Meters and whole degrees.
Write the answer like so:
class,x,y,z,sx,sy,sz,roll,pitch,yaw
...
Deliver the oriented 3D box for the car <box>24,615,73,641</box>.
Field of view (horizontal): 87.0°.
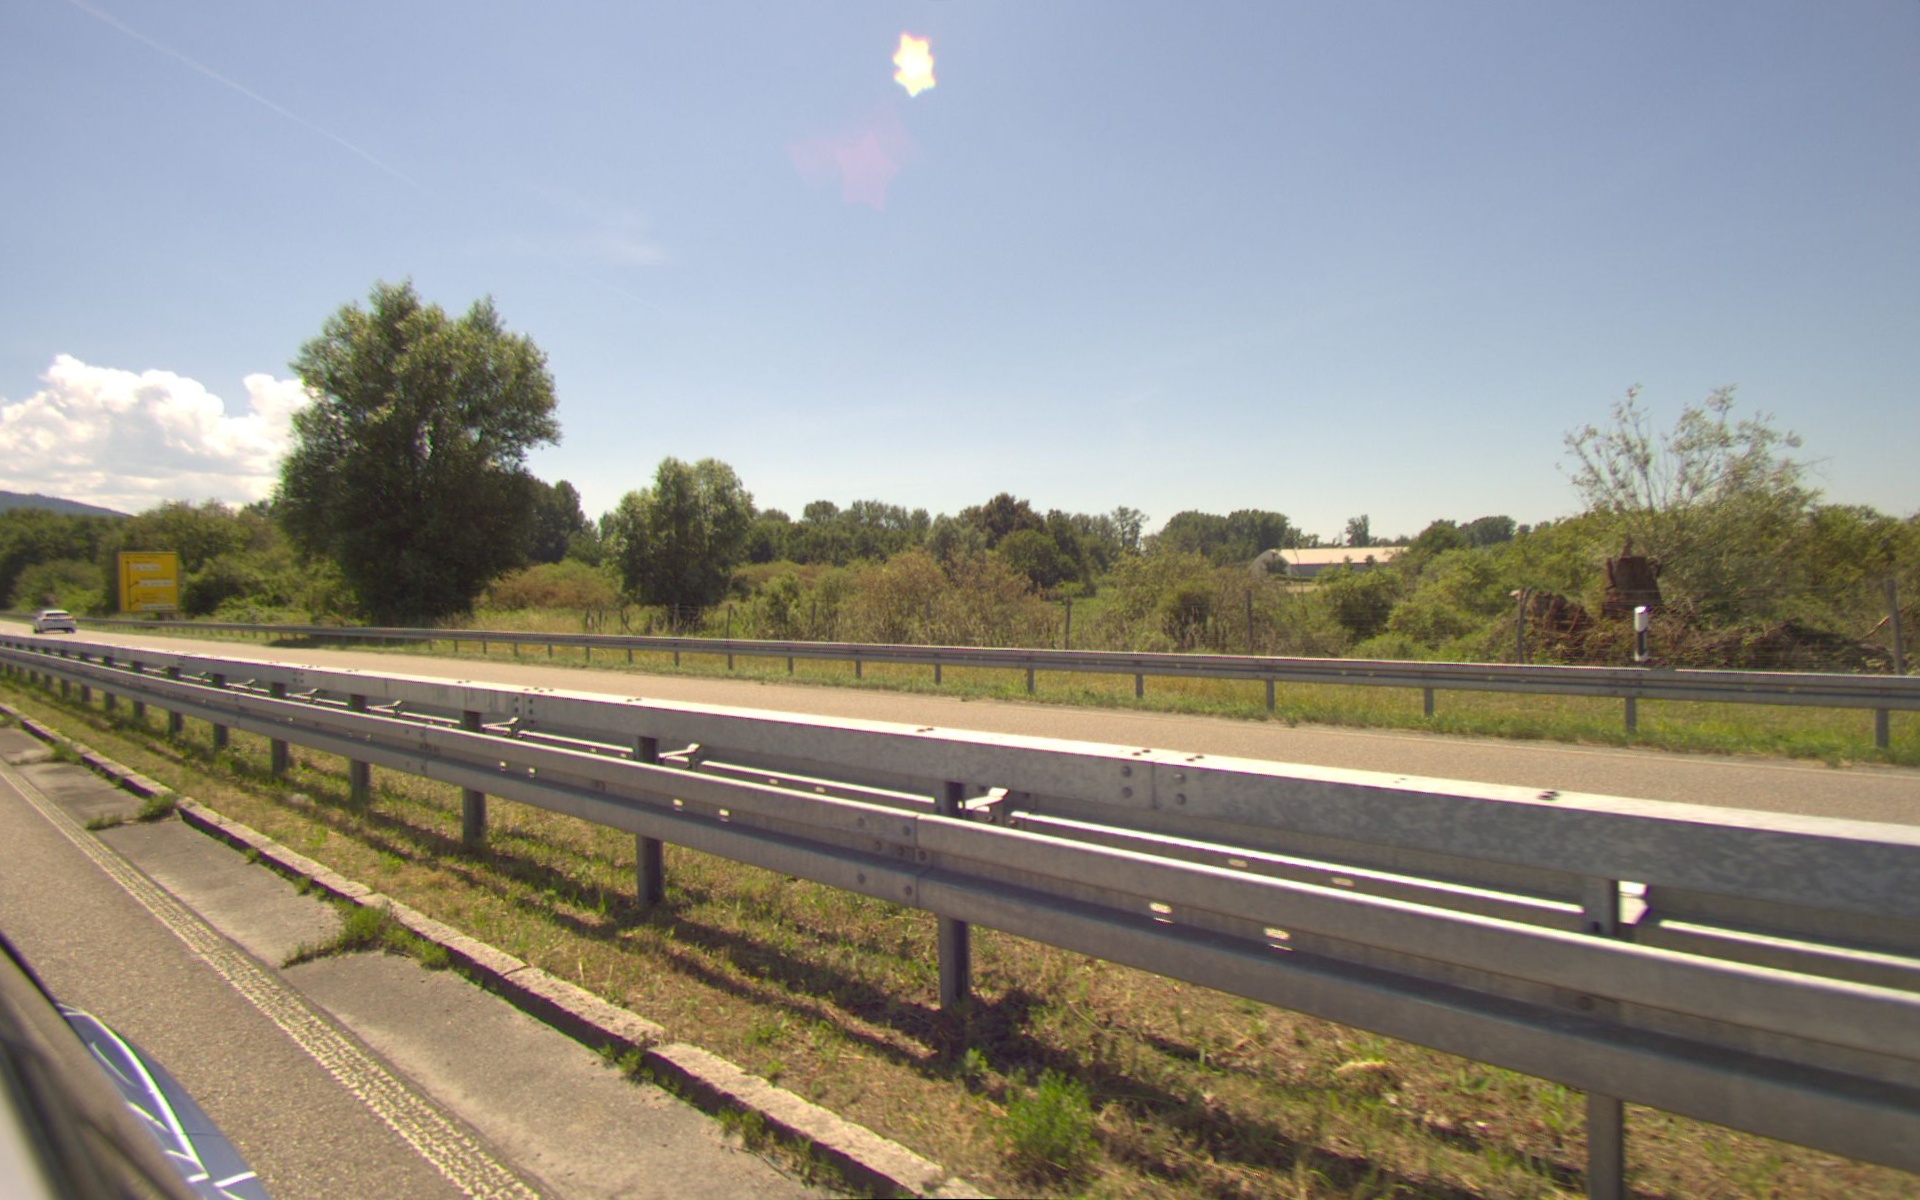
class,x,y,z,sx,sy,sz,roll,pitch,yaw
car,-57.953,1.757,64.339,4.101,1.509,1.808,-1,1,41
